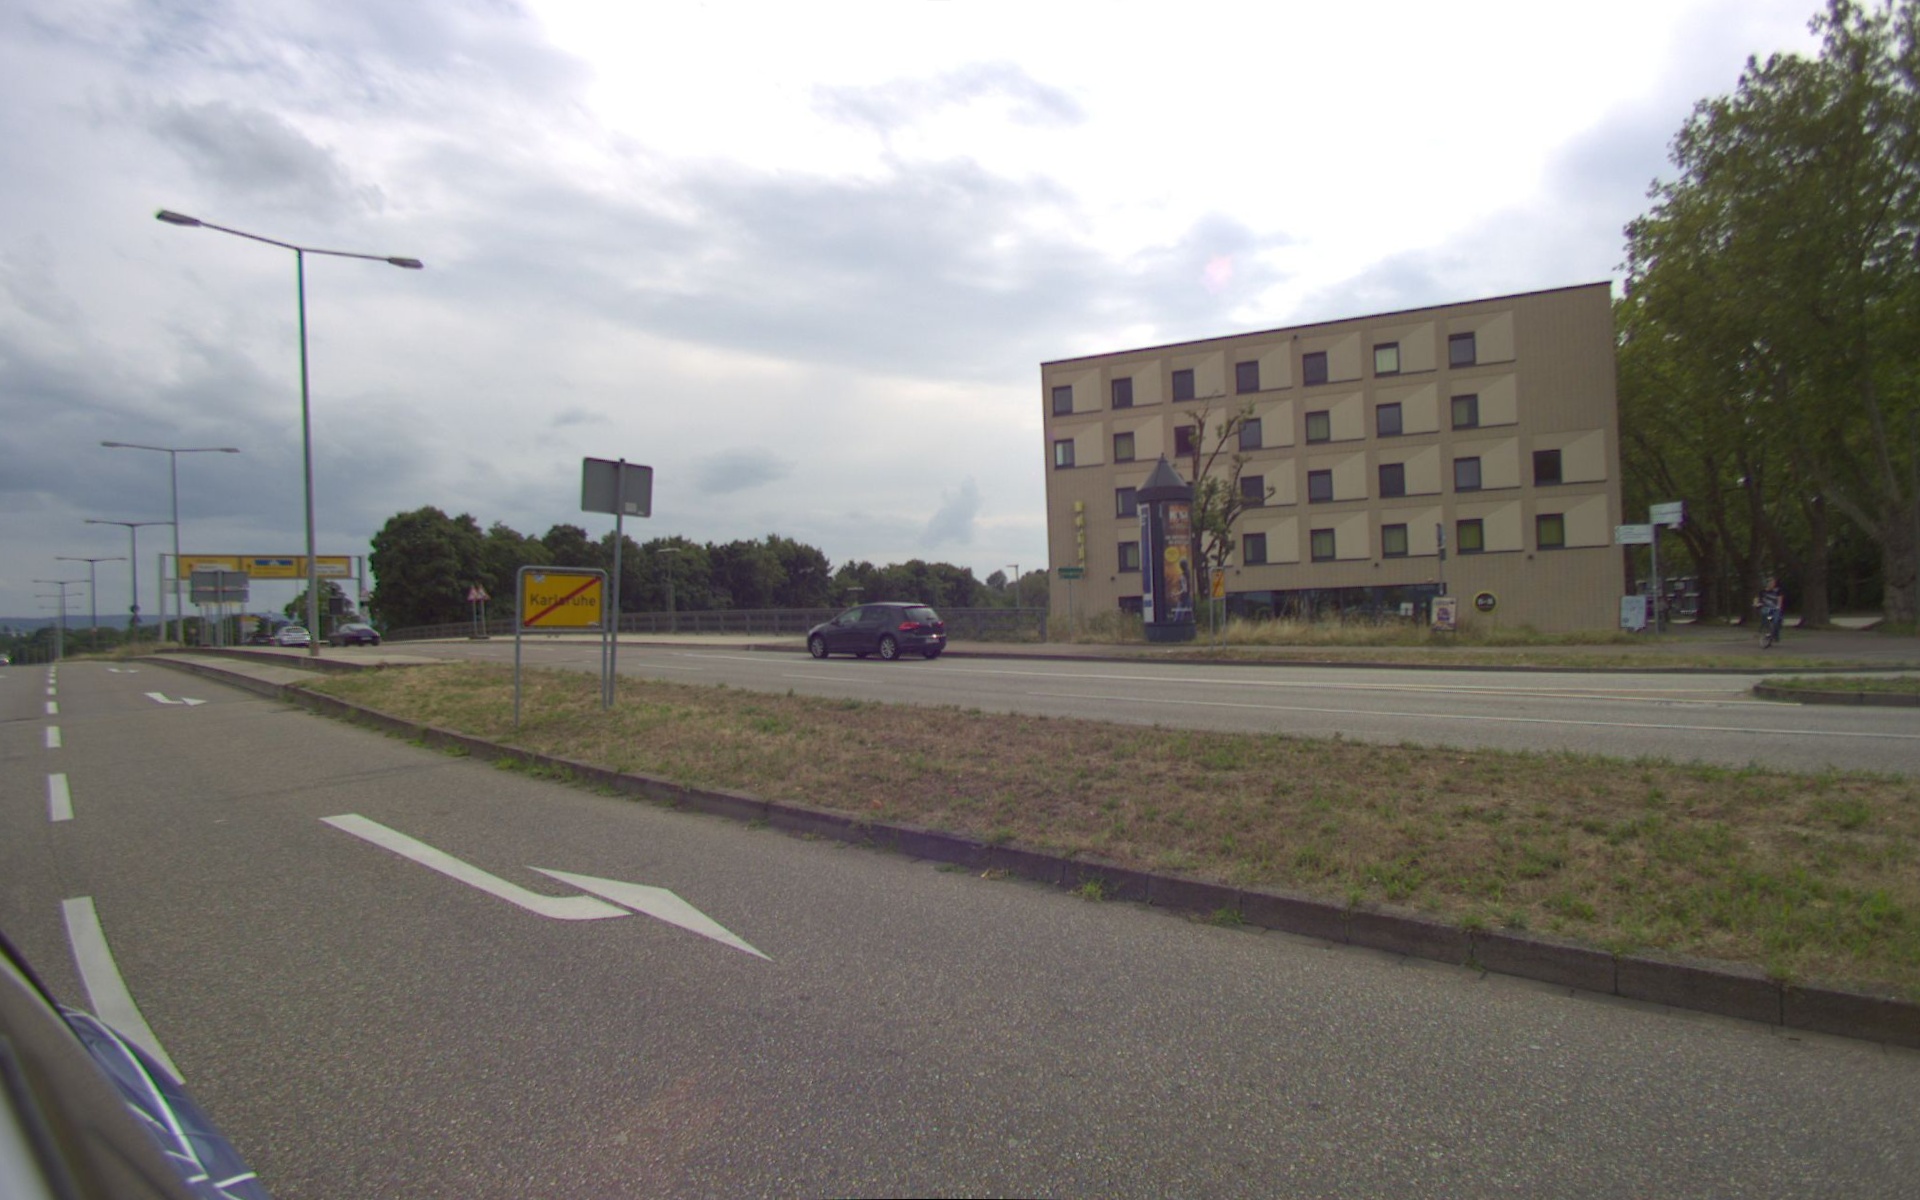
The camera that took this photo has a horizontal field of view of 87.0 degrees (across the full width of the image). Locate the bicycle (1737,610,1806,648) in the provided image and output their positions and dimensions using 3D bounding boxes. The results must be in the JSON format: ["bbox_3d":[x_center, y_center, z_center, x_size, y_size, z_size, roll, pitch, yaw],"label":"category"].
[{"bbox_3d":[21.068,0.742,26.260,2.084,0.916,0.744,-1,-1,-33],"label":"bicycle"}]

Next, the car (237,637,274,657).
[{"bbox_3d":[-54.003,3.573,77.536,1.721,1.421,3.879,1,-2,-44],"label":"car"}]

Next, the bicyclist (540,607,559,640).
[{"bbox_3d":[-20.987,1.194,51.744,0.675,1.684,0.849,-1,-1,-39],"label":"bicyclist"}]

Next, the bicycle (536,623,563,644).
[{"bbox_3d":[-21.014,1.702,51.767,0.675,1.061,1.998,-1,-1,-39],"label":"bicycle"}]

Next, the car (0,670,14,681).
[{"bbox_3d":[-143.649,11.387,152.310,1.834,1.353,4.004,-1,-1,-43],"label":"car"}]

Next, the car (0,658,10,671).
[{"bbox_3d":[-111.080,7.511,116.943,1.834,1.353,4.004,-1,-1,-42],"label":"car"}]

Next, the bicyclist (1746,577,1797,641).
[{"bbox_3d":[21.096,0.229,26.301,0.905,1.627,0.744,-1,-1,-33],"label":"bicyclist"}]

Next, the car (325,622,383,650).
[{"bbox_3d":[-34.251,2.020,57.157,1.800,1.457,4.355,-1,0,-45],"label":"car"}]

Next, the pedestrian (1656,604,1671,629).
[{"bbox_3d":[32.816,0.777,47.216,0.500,1.133,0.459,-2,-1,28],"label":"pedestrian"}]

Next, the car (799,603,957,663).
[{"bbox_3d":[-2.170,0.829,26.214,3.997,1.429,1.774,-2,-1,40],"label":"car"}]

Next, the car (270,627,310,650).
[{"bbox_3d":[-44.189,2.524,66.733,1.597,1.421,3.864,1,-2,-43],"label":"car"}]
